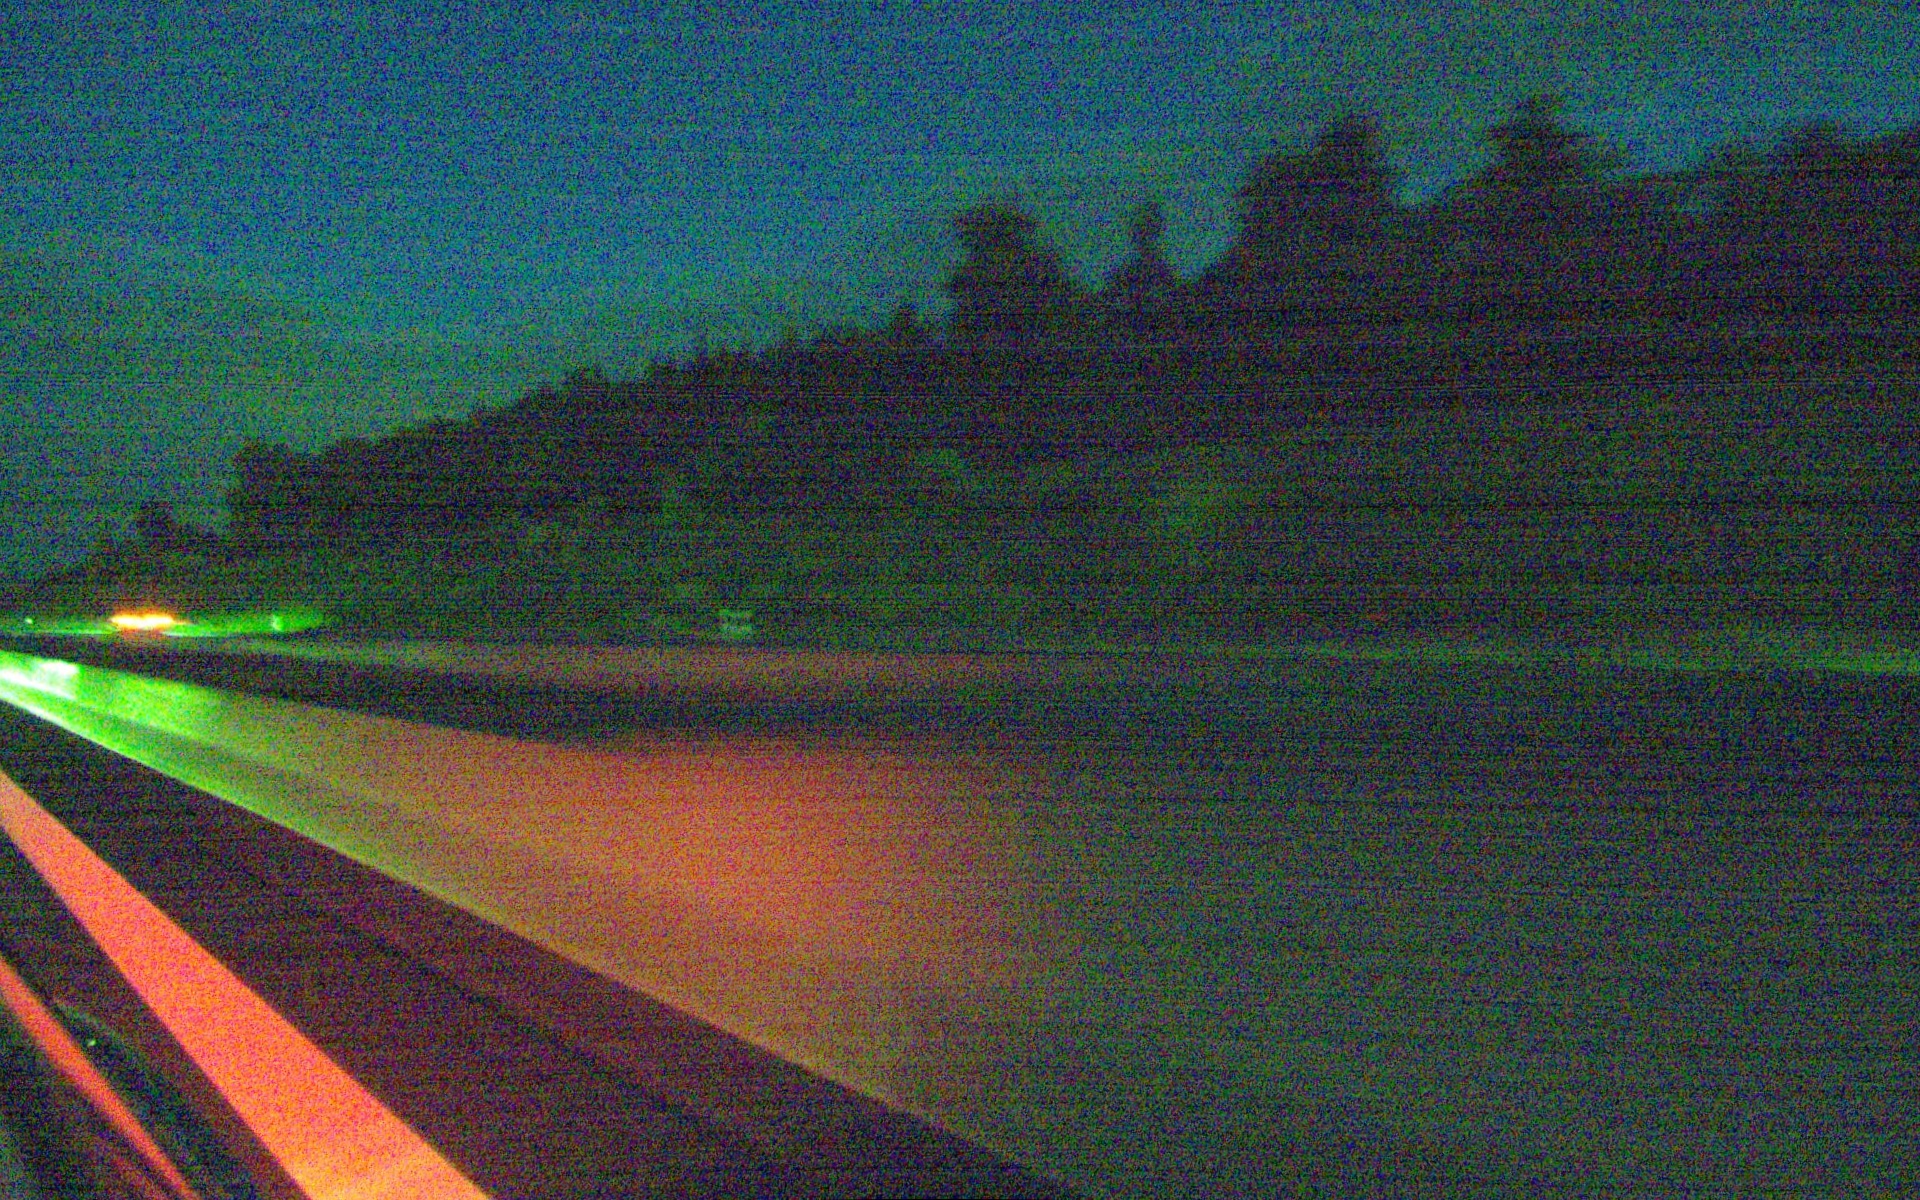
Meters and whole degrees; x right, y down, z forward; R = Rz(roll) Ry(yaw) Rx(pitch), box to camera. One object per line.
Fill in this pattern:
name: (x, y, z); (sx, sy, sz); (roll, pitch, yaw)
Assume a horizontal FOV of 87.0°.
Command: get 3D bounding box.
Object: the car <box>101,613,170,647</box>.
car: (-41.825, 1.524, 51.309); (4.451, 1.573, 1.913); (-2, 1, 41)
